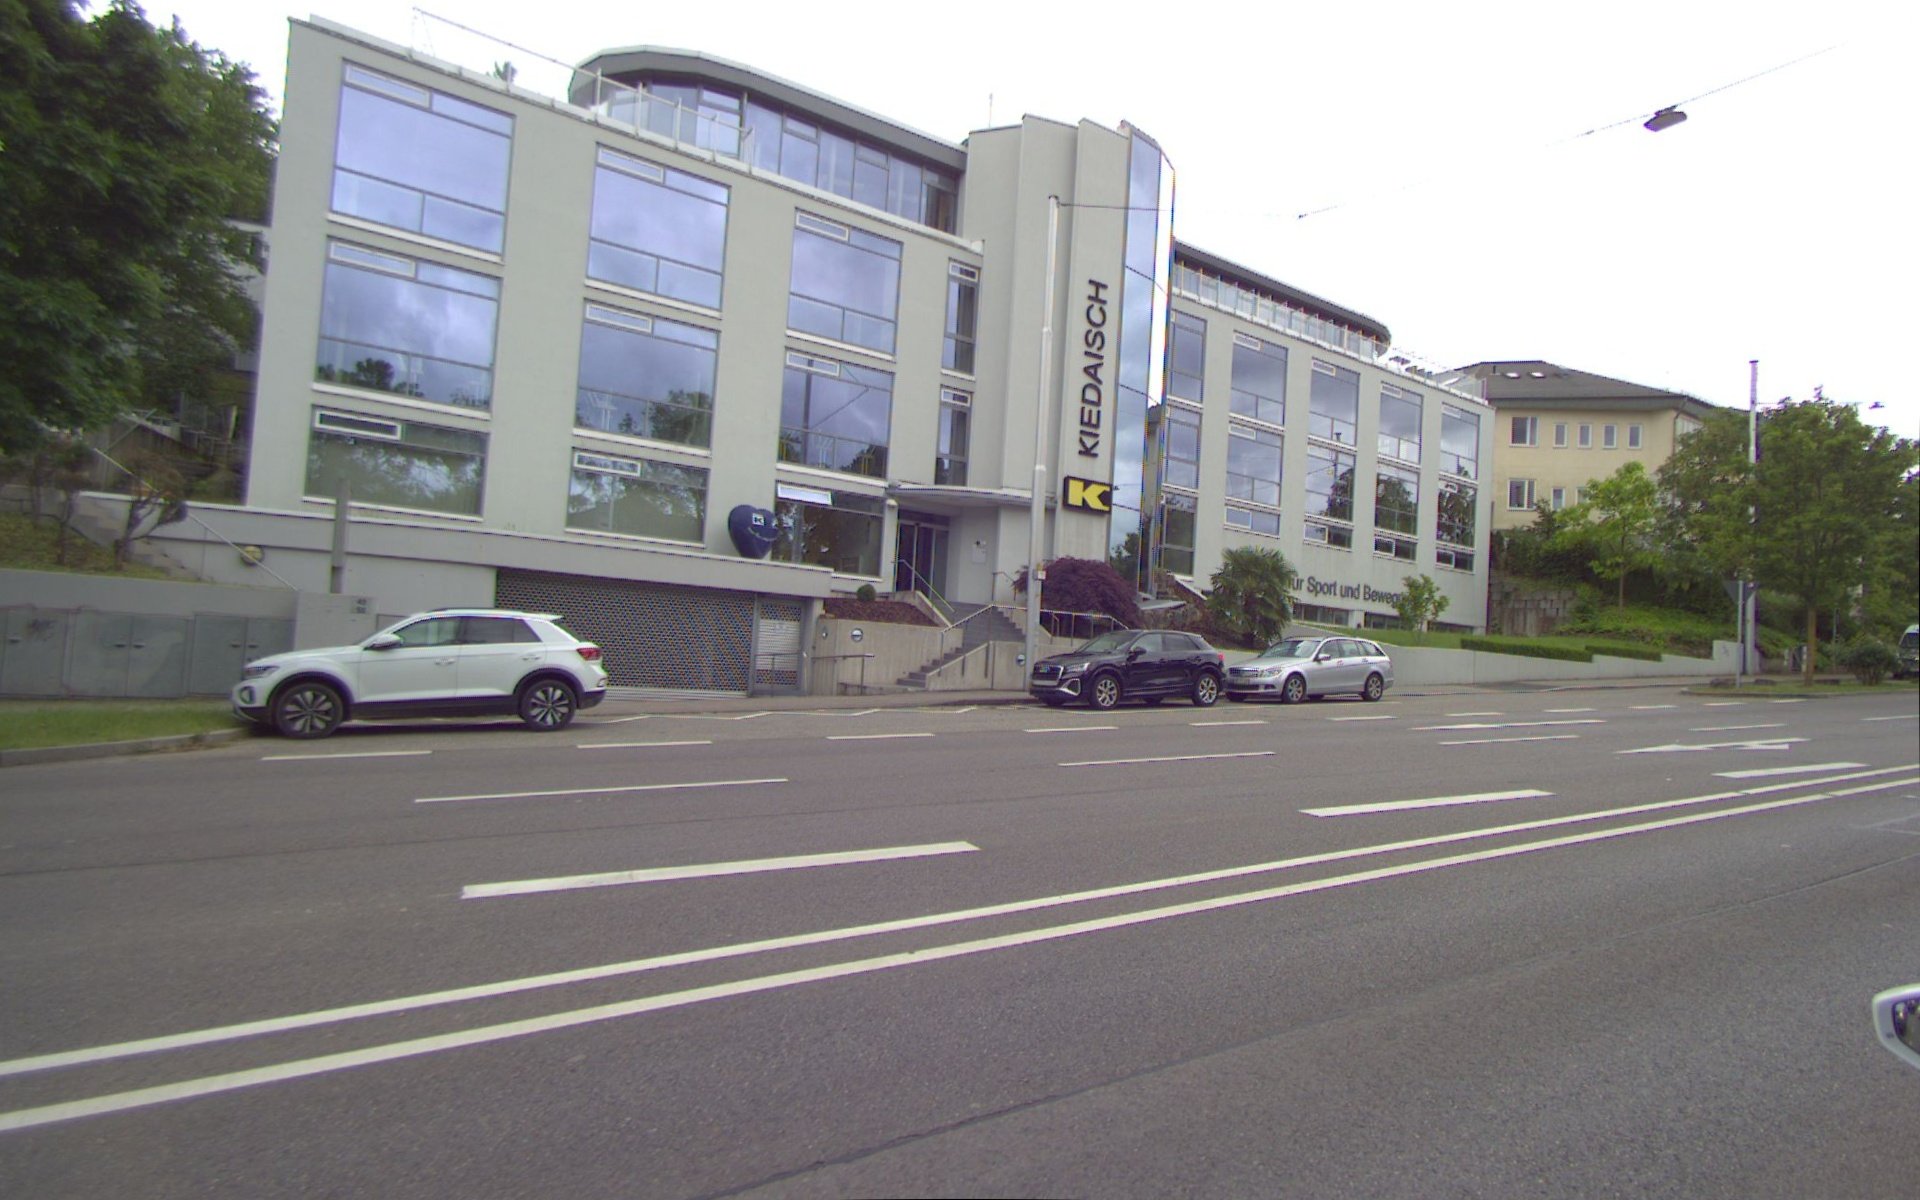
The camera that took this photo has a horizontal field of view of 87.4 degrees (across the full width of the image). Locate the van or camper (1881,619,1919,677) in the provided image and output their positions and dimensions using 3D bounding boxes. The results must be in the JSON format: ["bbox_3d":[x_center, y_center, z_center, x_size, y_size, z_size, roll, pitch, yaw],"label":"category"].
[{"bbox_3d":[43.547,2.146,44.784,5.641,2.505,1.985,2,-2,-29],"label":"van or camper"}]

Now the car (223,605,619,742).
[{"bbox_3d":[-6.708,0.905,12.896,4.186,1.523,1.661,2,-2,-29],"label":"car"}]

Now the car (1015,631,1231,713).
[{"bbox_3d":[3.204,1.367,19.556,4.042,1.447,1.665,2,-2,-31],"label":"car"}]

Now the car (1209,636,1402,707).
[{"bbox_3d":[7.753,1.559,22.430,4.367,1.447,1.665,2,-2,-31],"label":"car"}]
